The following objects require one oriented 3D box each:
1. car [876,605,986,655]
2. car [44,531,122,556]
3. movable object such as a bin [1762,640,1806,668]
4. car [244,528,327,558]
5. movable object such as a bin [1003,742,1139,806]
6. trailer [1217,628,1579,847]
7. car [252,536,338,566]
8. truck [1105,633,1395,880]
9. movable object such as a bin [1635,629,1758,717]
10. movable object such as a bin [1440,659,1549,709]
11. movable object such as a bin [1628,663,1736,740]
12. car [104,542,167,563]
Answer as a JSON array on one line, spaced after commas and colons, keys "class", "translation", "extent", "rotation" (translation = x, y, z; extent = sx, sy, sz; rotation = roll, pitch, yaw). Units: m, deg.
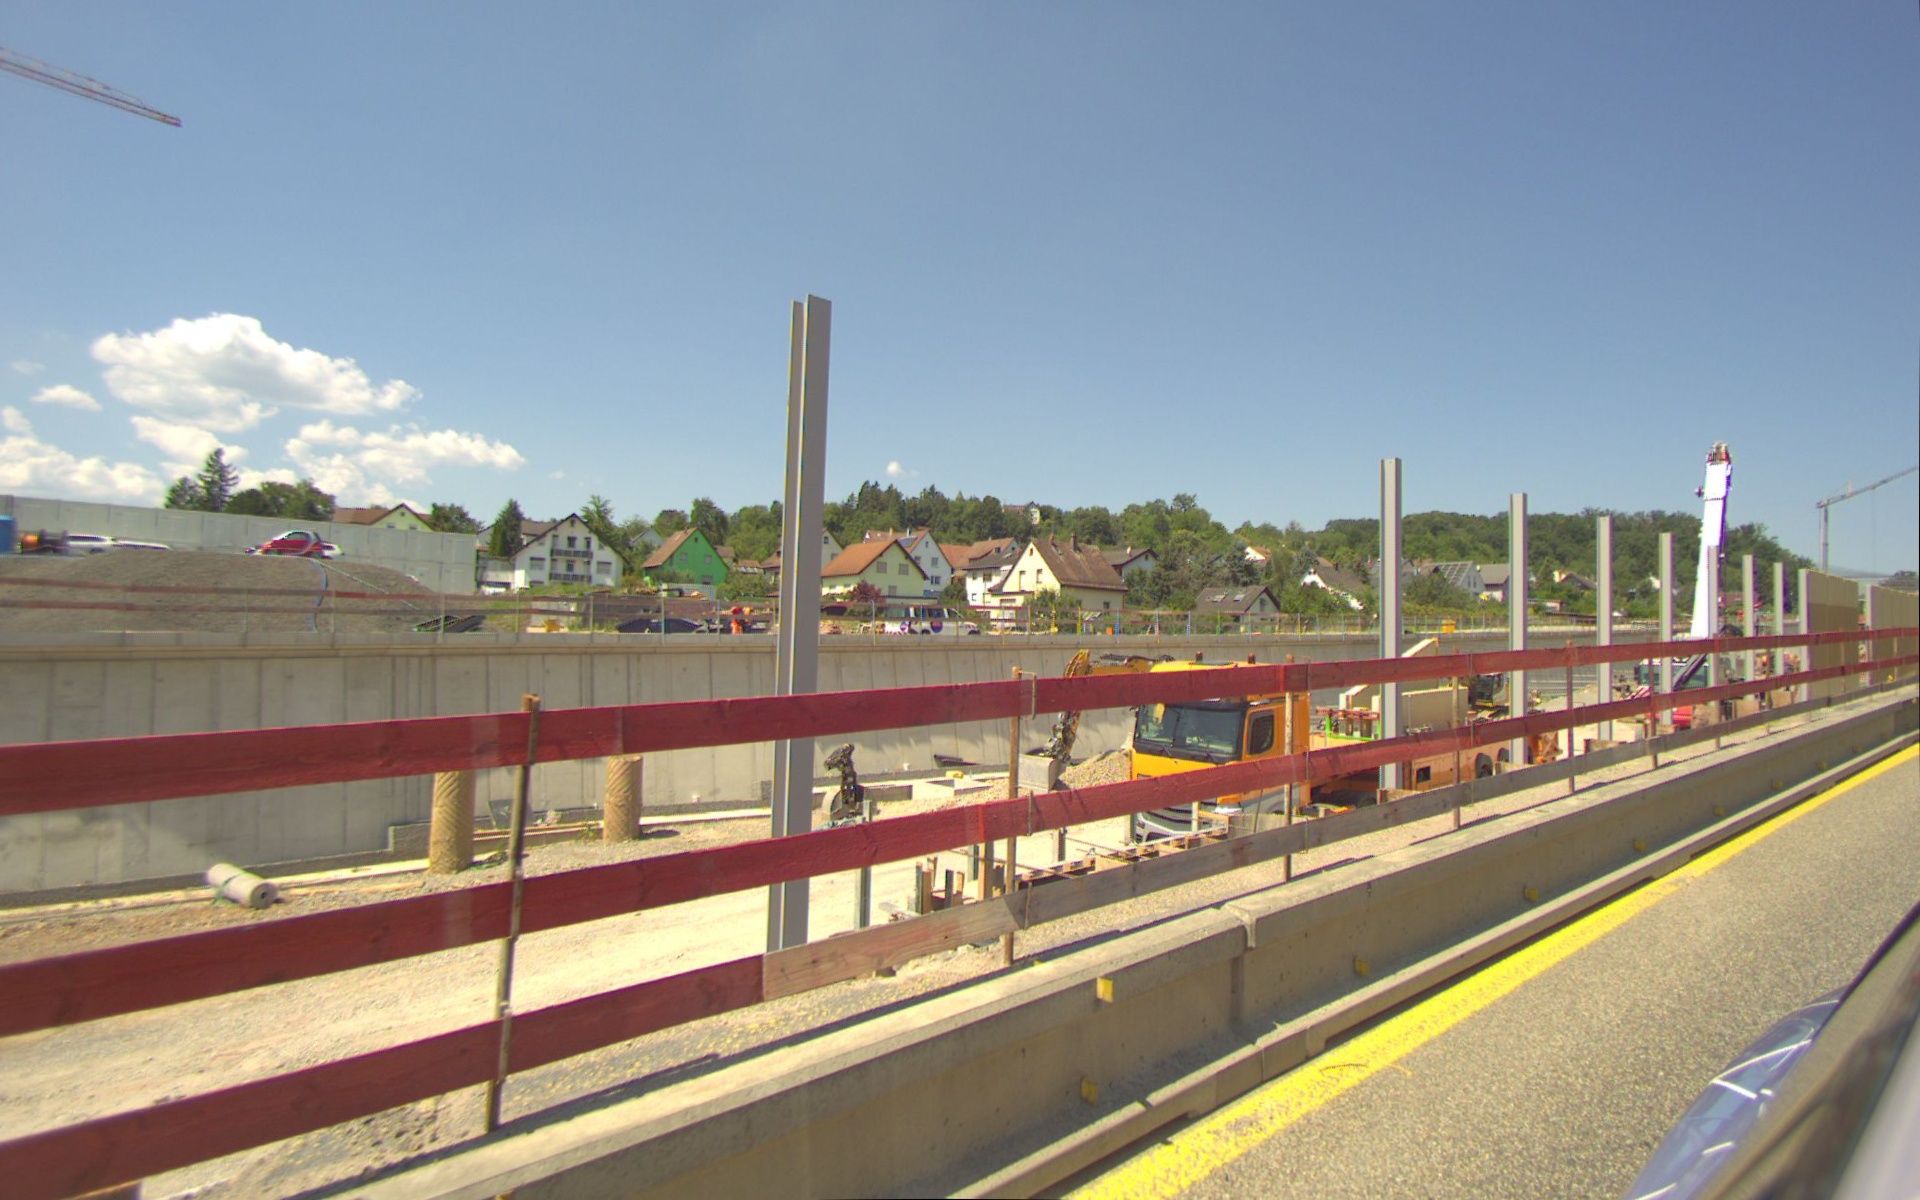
[{"class": "car", "translation": [-1.191, 1.240, 43.315], "extent": [4.744, 2.039, 1.807], "rotation": [1, -1, -43]}, {"class": "car", "translation": [-51.212, -3.283, 59.178], "extent": [3.369, 1.297, 1.517], "rotation": [1, -1, -41]}, {"class": "movable object such as a bin", "translation": [79.165, 5.173, 97.192], "extent": [4.378, 2.522, 2.611], "rotation": [1, -2, -43]}, {"class": "car", "translation": [-34.510, -2.884, 51.810], "extent": [3.369, 1.333, 1.517], "rotation": [1, -1, -41]}, {"class": "movable object such as a bin", "translation": [3.280, 5.129, 29.937], "extent": [3.154, 1.508, 2.379], "rotation": [1, -9, -40]}, {"class": "trailer", "translation": [11.123, 2.737, 24.383], "extent": [12.820, 3.936, 2.763], "rotation": [1, -1, -41]}, {"class": "car", "translation": [-38.524, -2.806, 58.652], "extent": [4.003, 1.537, 1.684], "rotation": [1, -1, -41]}, {"class": "truck", "translation": [5.780, 2.687, 19.724], "extent": [5.778, 3.936, 2.763], "rotation": [1, -1, -41]}, {"class": "movable object such as a bin", "translation": [34.281, 3.209, 46.936], "extent": [8.999, 3.533, 2.967], "rotation": [0, -2, -44]}, {"class": "movable object such as a bin", "translation": [31.882, 4.914, 60.221], "extent": [7.758, 2.477, 3.167], "rotation": [0, -2, -42]}, {"class": "movable object such as a bin", "translation": [26.996, 3.689, 37.779], "extent": [4.736, 2.463, 2.171], "rotation": [0, -2, -41]}, {"class": "car", "translation": [-57.043, -3.283, 70.056], "extent": [3.369, 1.297, 1.517], "rotation": [1, -1, -41]}]
